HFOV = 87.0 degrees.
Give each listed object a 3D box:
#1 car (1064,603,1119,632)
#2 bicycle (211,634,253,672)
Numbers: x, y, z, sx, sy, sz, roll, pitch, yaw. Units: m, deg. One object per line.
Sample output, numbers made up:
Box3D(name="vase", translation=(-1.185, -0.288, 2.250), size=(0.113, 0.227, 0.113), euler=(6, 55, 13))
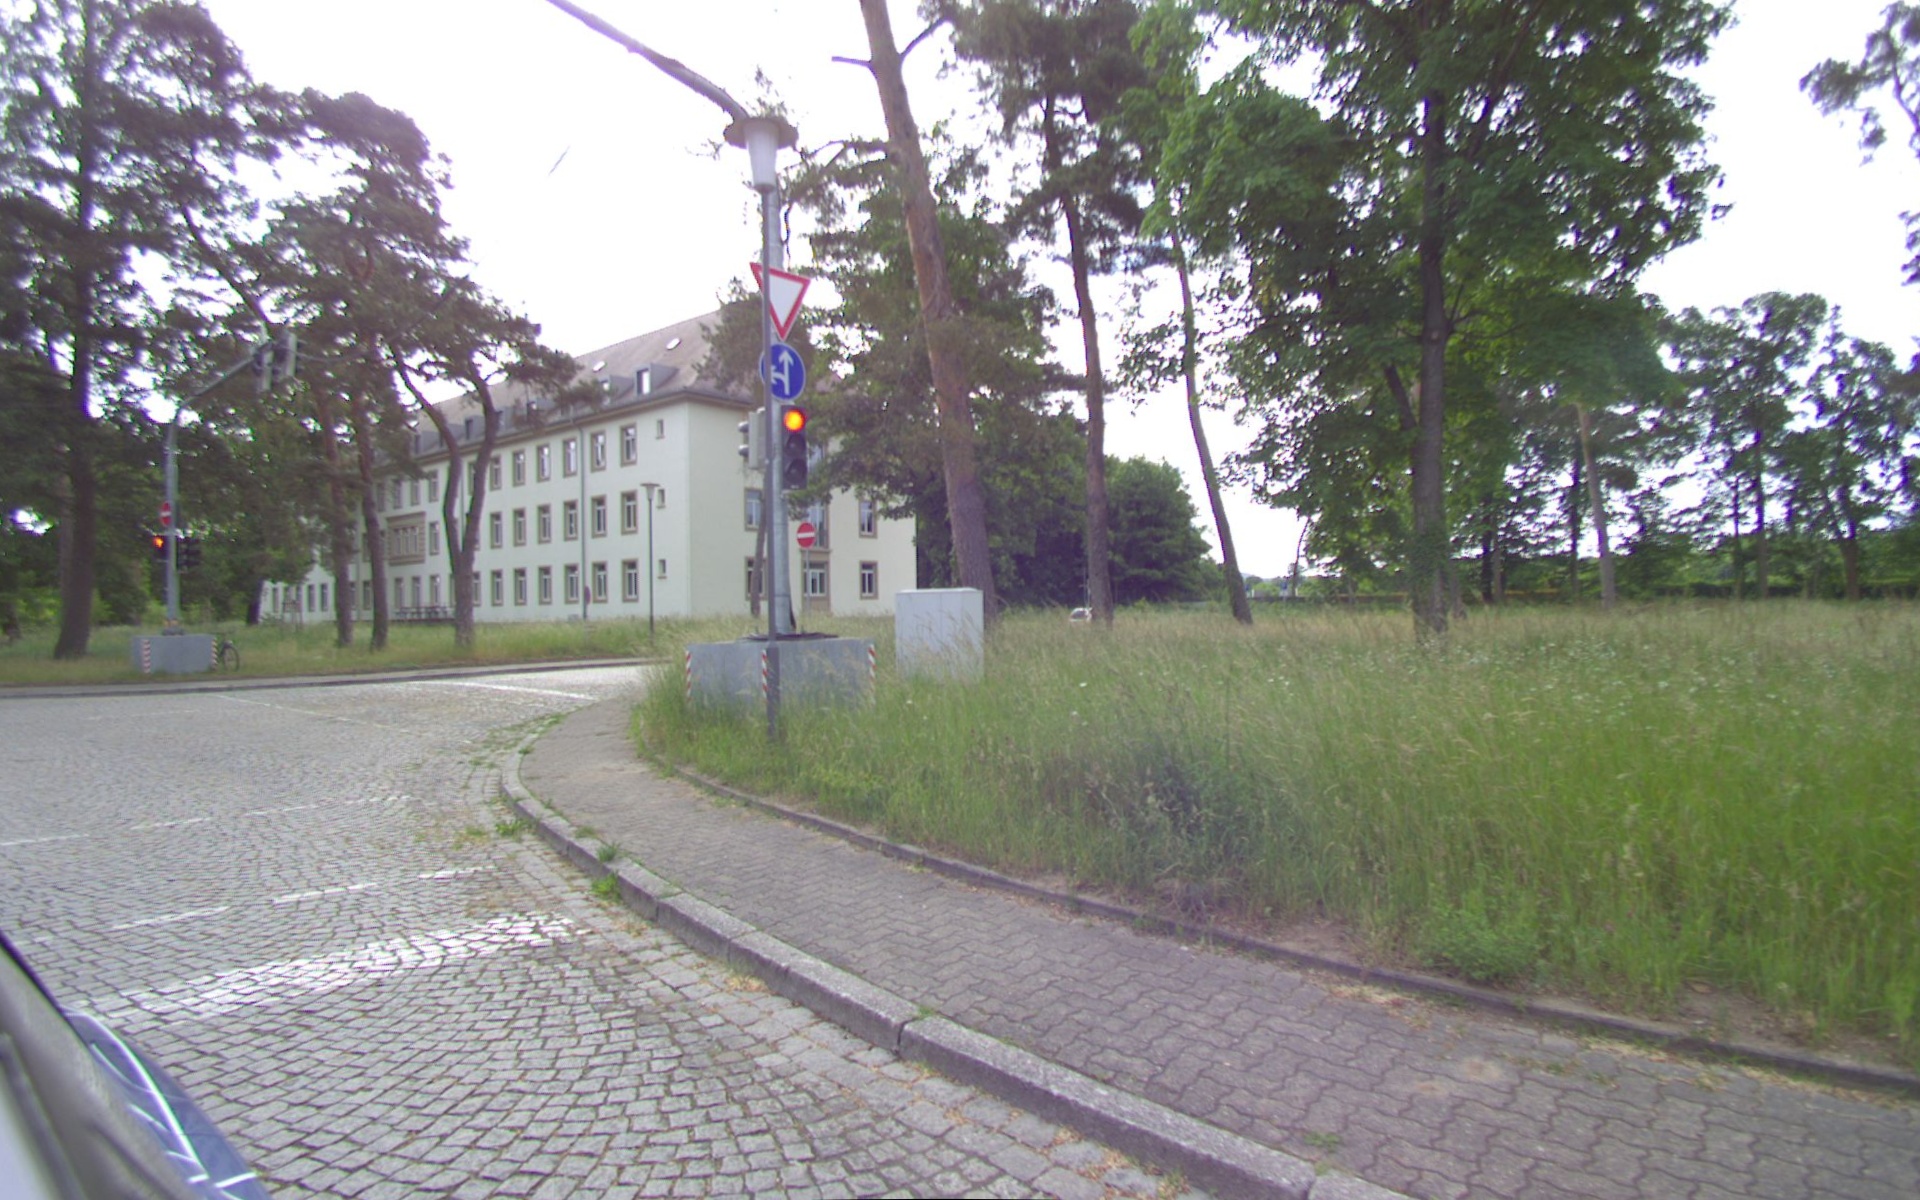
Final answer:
Box3D(name="car", translation=(8.782, 1.143, 67.353), size=(1.722, 1.820, 3.944), euler=(-2, -1, 42))
Box3D(name="bicycle", translation=(-18.136, 1.310, 25.202), size=(1.045, 0.923, 0.291), euler=(-1, -1, 19))
